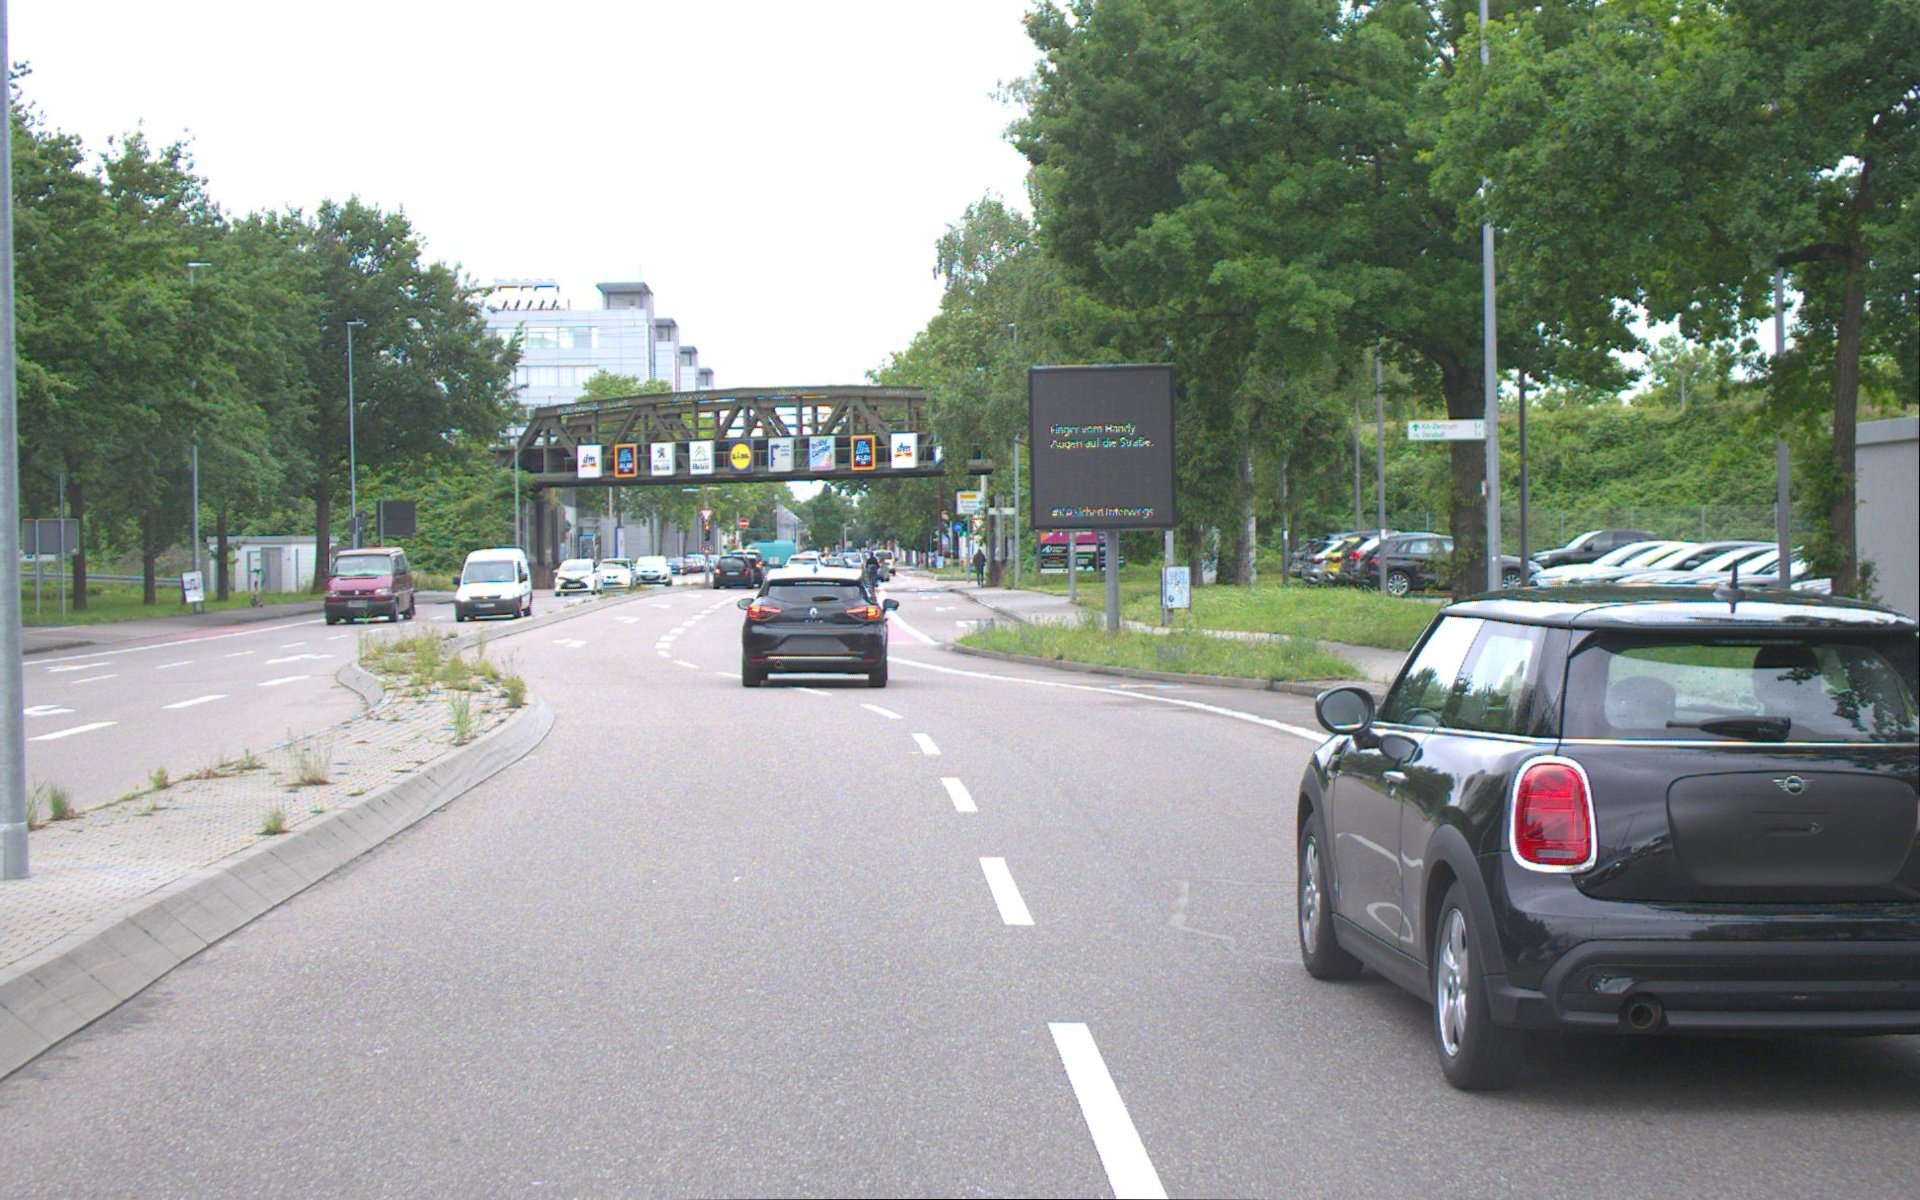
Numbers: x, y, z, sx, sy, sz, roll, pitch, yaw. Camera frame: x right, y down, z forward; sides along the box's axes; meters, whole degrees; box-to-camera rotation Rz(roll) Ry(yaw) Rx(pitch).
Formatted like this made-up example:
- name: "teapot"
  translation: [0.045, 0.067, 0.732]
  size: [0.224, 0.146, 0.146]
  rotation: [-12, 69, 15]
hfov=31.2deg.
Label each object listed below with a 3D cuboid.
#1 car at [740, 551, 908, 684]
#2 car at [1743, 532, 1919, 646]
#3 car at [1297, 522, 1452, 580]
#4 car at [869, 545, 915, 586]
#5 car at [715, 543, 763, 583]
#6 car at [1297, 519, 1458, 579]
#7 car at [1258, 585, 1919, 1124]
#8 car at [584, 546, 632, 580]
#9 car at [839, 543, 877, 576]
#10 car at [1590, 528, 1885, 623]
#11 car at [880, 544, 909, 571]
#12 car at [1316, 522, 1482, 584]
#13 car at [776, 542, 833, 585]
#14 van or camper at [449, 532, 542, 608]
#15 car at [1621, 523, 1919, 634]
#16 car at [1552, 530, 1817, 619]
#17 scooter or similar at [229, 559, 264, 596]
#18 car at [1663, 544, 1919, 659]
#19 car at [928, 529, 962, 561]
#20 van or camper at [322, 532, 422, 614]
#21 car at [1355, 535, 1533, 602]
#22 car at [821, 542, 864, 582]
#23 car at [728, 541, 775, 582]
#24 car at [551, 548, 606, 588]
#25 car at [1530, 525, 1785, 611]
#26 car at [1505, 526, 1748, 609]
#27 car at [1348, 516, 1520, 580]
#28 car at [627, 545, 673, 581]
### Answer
- name: "car"
  translation: [-1.602, 0.170, 41.637]
  size: [1.757, 1.429, 4.000]
  rotation: [-1, 2, 1]
- name: "car"
  translation: [12.875, -0.083, 45.933]
  size: [4.293, 1.388, 2.000]
  rotation: [3, 1, 0]
- name: "car"
  translation: [10.919, -1.306, 90.778]
  size: [3.988, 1.430, 1.730]
  rotation: [1, 3, 5]
- name: "car"
  translation: [-3.004, -1.554, 152.919]
  size: [1.884, 1.656, 3.782]
  rotation: [0, 3, 1]
- name: "car"
  translation: [-10.026, -1.686, 156.360]
  size: [1.884, 1.656, 3.782]
  rotation: [0, 3, 1]
- name: "car"
  translation: [10.617, -1.320, 87.598]
  size: [3.988, 1.430, 1.730]
  rotation: [1, 3, 5]
- name: "car"
  translation: [2.081, 0.667, 10.872]
  size: [1.785, 1.411, 3.643]
  rotation: [0, 0, -3]
- name: "car"
  translation: [-15.675, -1.645, 153.159]
  size: [1.719, 1.366, 3.440]
  rotation: [0, 3, 1]
- name: "car"
  translation: [-5.452, -2.174, 184.054]
  size: [1.884, 1.656, 3.782]
  rotation: [0, 3, 1]
- name: "car"
  translation: [12.640, -0.412, 56.049]
  size: [4.343, 1.483, 1.843]
  rotation: [1, 1, -2]
- name: "car"
  translation: [-4.713, -3.077, 248.467]
  size: [1.950, 1.809, 4.001]
  rotation: [0, 3, 1]
- name: "car"
  translation: [10.860, -1.166, 85.249]
  size: [3.988, 1.430, 1.730]
  rotation: [1, 3, 5]
- name: "car"
  translation: [-6.495, -1.539, 143.871]
  size: [2.135, 1.656, 3.782]
  rotation: [0, 3, 1]
- name: "van or camper"
  translation: [-11.792, -0.791, 87.437]
  size: [1.755, 1.741, 4.407]
  rotation: [-4, 2, -1]
- name: "car"
  translation: [12.736, -0.345, 53.684]
  size: [4.343, 1.498, 1.930]
  rotation: [3, 1, -2]
- name: "car"
  translation: [12.329, -0.448, 58.663]
  size: [4.085, 1.430, 1.822]
  rotation: [0, 3, -2]
- name: "scooter or similar"
  translation: [-22.619, -0.725, 108.992]
  size: [0.762, 1.086, 2.007]
  rotation: [0, 3, -2]
- name: "car"
  translation: [12.872, -0.001, 50.922]
  size: [4.445, 1.566, 2.000]
  rotation: [-1, 1, -2]
- name: "car"
  translation: [-0.899, -3.359, 209.007]
  size: [1.950, 1.809, 4.001]
  rotation: [0, 3, 1]
- name: "van or camper"
  translation: [-15.324, -0.730, 89.785]
  size: [1.875, 1.979, 4.890]
  rotation: [-2, 2, -2]
- name: "car"
  translation: [11.183, -0.735, 79.603]
  size: [3.988, 1.430, 1.730]
  rotation: [1, 3, 5]
- name: "car"
  translation: [-5.914, -1.930, 173.589]
  size: [1.950, 1.809, 4.001]
  rotation: [0, 3, 1]
- name: "car"
  translation: [-9.898, -1.845, 163.208]
  size: [1.950, 1.809, 4.001]
  rotation: [0, 3, 1]
- name: "car"
  translation: [-15.205, -1.298, 137.129]
  size: [1.754, 1.441, 3.339]
  rotation: [0, 3, 1]
- name: "car"
  translation: [12.353, -0.575, 61.069]
  size: [4.085, 1.430, 1.847]
  rotation: [0, 3, -2]
- name: "car"
  translation: [12.266, -0.606, 63.386]
  size: [4.085, 1.430, 1.731]
  rotation: [0, 3, -2]
- name: "car"
  translation: [11.304, -1.244, 82.217]
  size: [3.988, 1.430, 1.730]
  rotation: [1, 3, 5]
- name: "car"
  translation: [-15.725, -1.900, 174.769]
  size: [1.940, 1.670, 3.782]
  rotation: [0, 3, 1]
